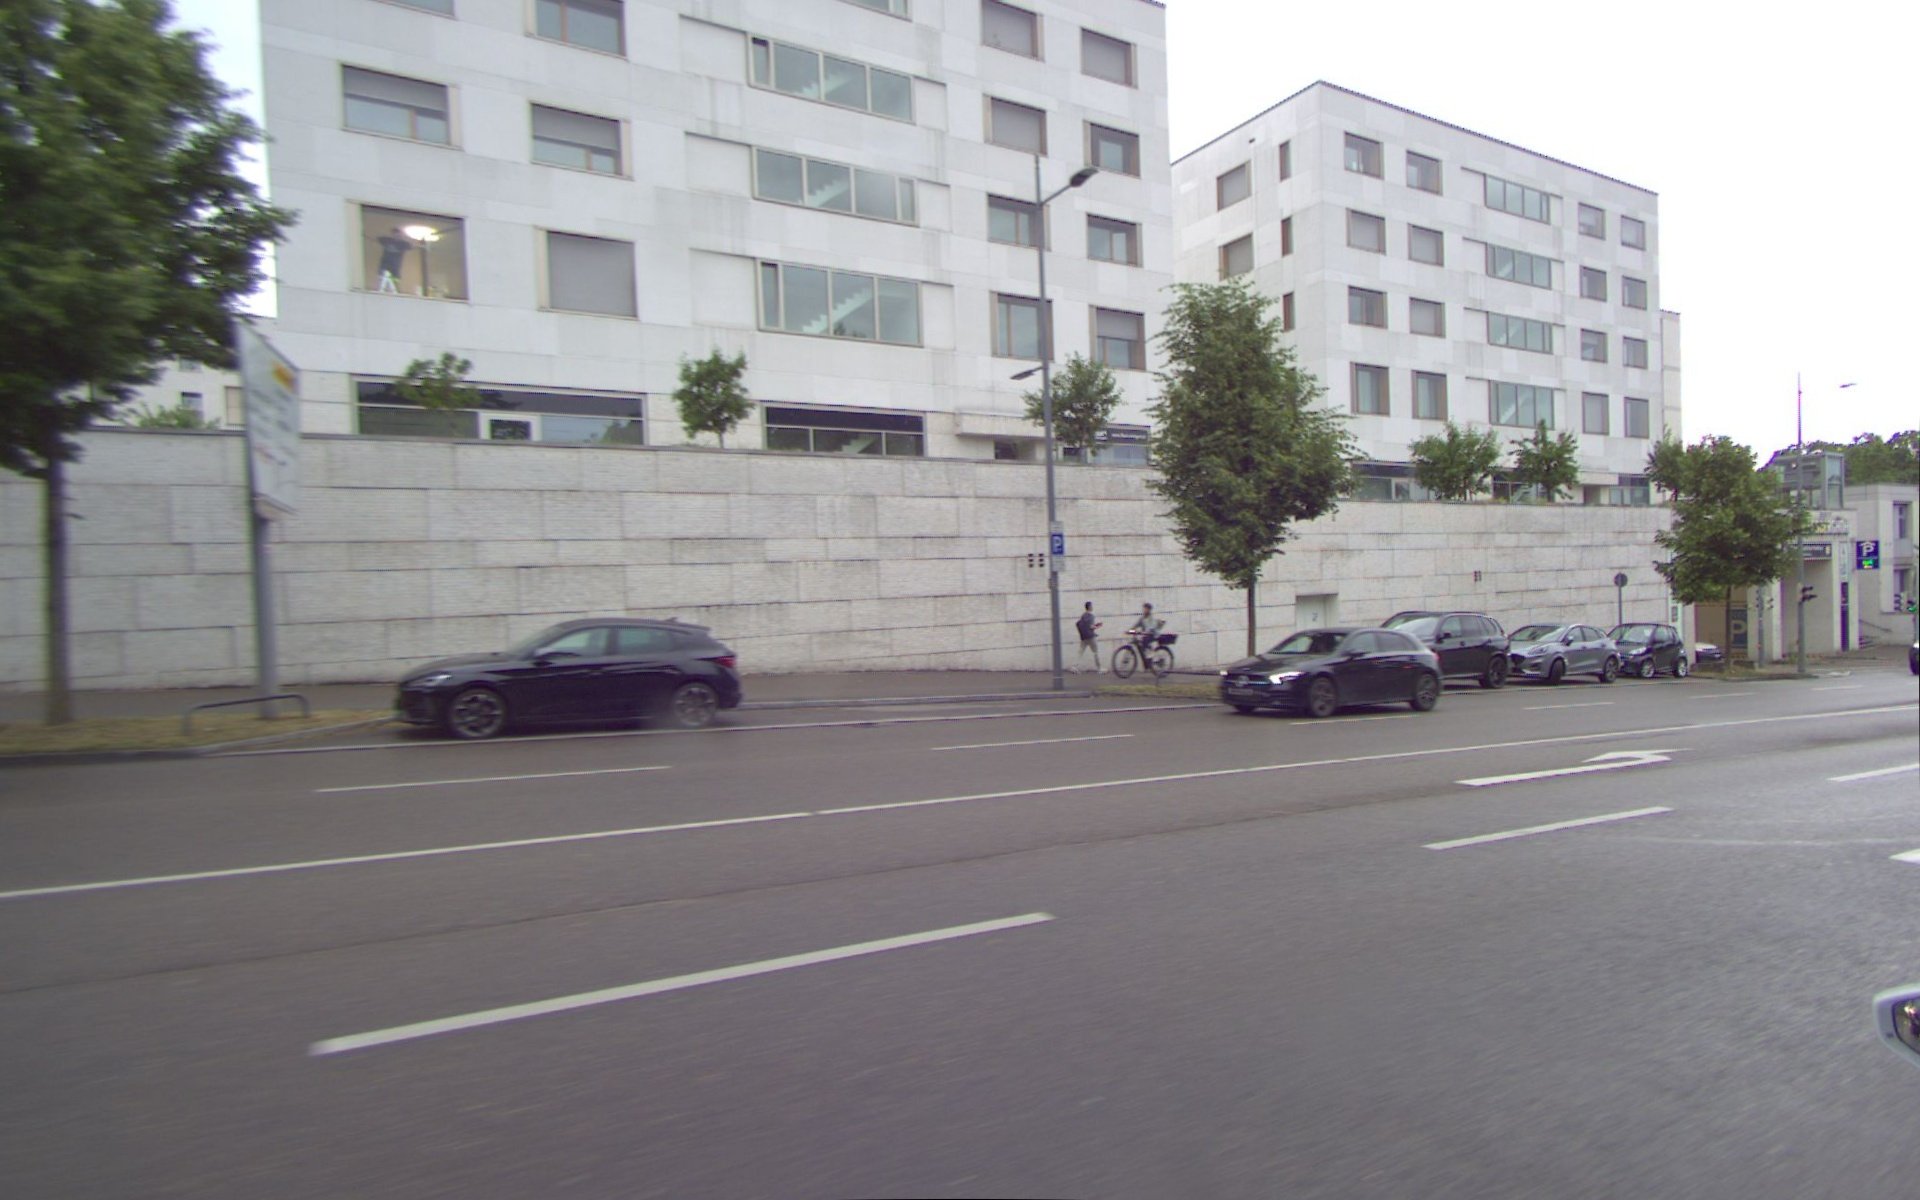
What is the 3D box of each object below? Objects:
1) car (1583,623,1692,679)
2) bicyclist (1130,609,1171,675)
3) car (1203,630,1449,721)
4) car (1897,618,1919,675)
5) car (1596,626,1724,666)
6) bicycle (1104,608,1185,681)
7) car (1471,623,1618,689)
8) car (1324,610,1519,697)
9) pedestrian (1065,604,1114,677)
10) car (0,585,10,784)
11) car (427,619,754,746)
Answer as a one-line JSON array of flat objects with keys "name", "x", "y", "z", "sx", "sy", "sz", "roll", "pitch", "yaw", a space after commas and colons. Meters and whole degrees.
[{"name": "car", "x": 19.927, "y": 1.474, "z": 29.545, "sx": 2.945, "sy": 1.535, "sz": 1.501, "roll": 1, "pitch": 0, "yaw": -30}, {"name": "bicyclist", "x": 4.547, "y": 0.992, "z": 24.006, "sx": 0.760, "sy": 1.538, "sz": 0.574, "roll": 1, "pitch": -1, "yaw": -30}, {"name": "car", "x": 6.302, "y": 1.226, "z": 17.212, "sx": 4.142, "sy": 1.399, "sz": 1.762, "roll": 1, "pitch": -2, "yaw": -31}, {"name": "car", "x": 34.304, "y": 1.559, "z": 34.221, "sx": 4.446, "sy": 1.881, "sz": 1.915, "roll": 1, "pitch": -4, "yaw": -26}, {"name": "car", "x": 32.296, "y": 2.088, "z": 46.476, "sx": 1.906, "sy": 1.694, "sz": 4.479, "roll": 2, "pitch": -1, "yaw": -31}, {"name": "bicycle", "x": 4.409, "y": 1.065, "z": 23.920, "sx": 1.858, "sy": 1.679, "sz": 0.739, "roll": 2, "pitch": -2, "yaw": -30}, {"name": "car", "x": 15.058, "y": 1.400, "z": 25.846, "sx": 3.667, "sy": 1.535, "sz": 1.671, "roll": 1, "pitch": 0, "yaw": -31}, {"name": "car", "x": 10.608, "y": 1.169, "z": 23.011, "sx": 4.545, "sy": 1.804, "sz": 1.847, "roll": 1, "pitch": 0, "yaw": -32}, {"name": "pedestrian", "x": 3.280, "y": 1.016, "z": 25.468, "sx": 1.009, "sy": 1.798, "sz": 0.704, "roll": 1, "pitch": -1, "yaw": -31}, {"name": "car", "x": -10.032, "y": 0.704, "z": 7.257, "sx": 4.289, "sy": 1.769, "sz": 1.701, "roll": 1, "pitch": -2, "yaw": -32}, {"name": "car", "x": -4.935, "y": 1.025, "z": 13.535, "sx": 3.918, "sy": 1.445, "sz": 1.671, "roll": 1, "pitch": 0, "yaw": -30}]
